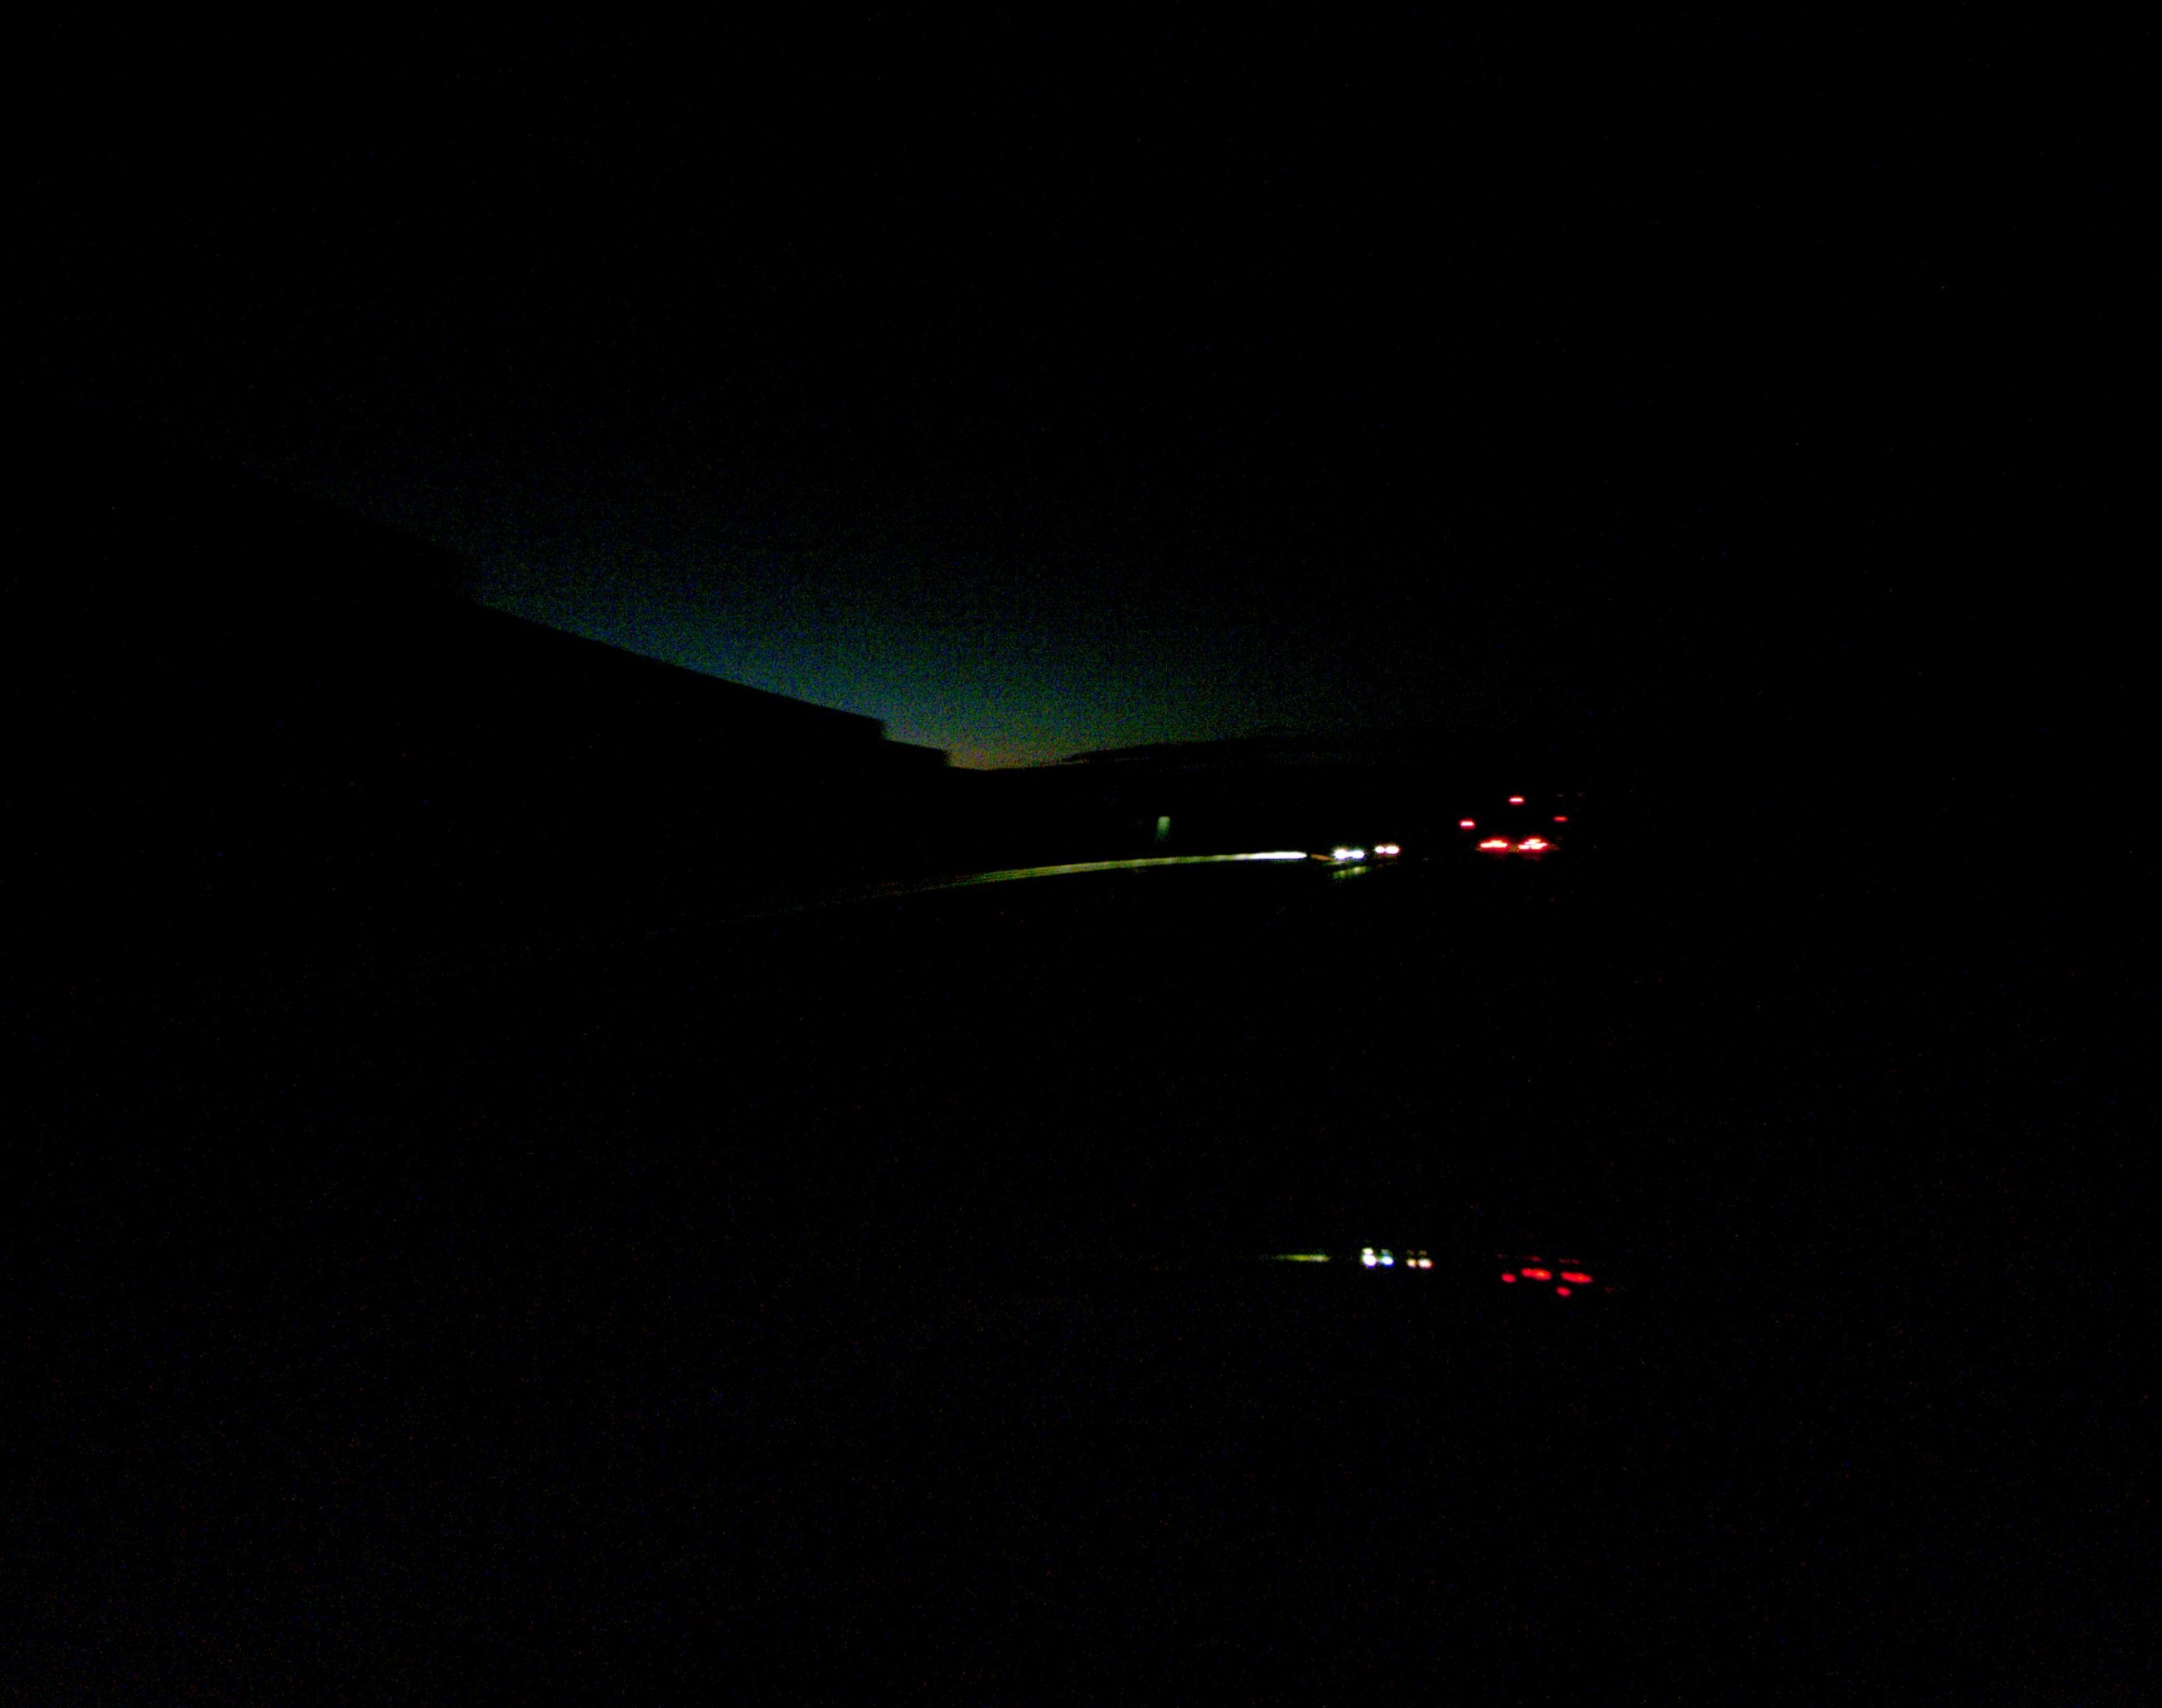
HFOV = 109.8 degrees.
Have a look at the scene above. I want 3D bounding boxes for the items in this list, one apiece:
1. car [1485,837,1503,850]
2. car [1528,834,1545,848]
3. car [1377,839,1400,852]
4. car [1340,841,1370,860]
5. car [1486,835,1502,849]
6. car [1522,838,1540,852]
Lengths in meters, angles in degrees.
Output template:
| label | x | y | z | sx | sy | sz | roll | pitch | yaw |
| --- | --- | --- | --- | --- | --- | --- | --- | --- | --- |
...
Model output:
| label | x | y | z | sx | sy | sz | roll | pitch | yaw |
| --- | --- | --- | --- | --- | --- | --- | --- | --- | --- |
| car | 48.599 | -1.262 | 89.342 | 1.711 | 1.436 | 3.991 | 0 | 2 | 31 |
| car | 54.930 | -1.538 | 91.620 | 1.755 | 1.452 | 4.006 | -2 | 3 | 31 |
| car | 35.836 | -0.968 | 88.462 | 1.653 | 1.442 | 3.496 | 0 | 2 | 36 |
| car | 24.026 | -0.325 | 66.580 | 1.759 | 1.451 | 4.199 | 0 | 2 | 29 |
| car | 52.285 | -1.565 | 96.182 | 1.700 | 1.467 | 3.875 | -2 | 4 | 29 |
| car | 51.235 | -1.085 | 86.446 | 1.684 | 1.452 | 3.818 | 1 | 3 | 31 |
